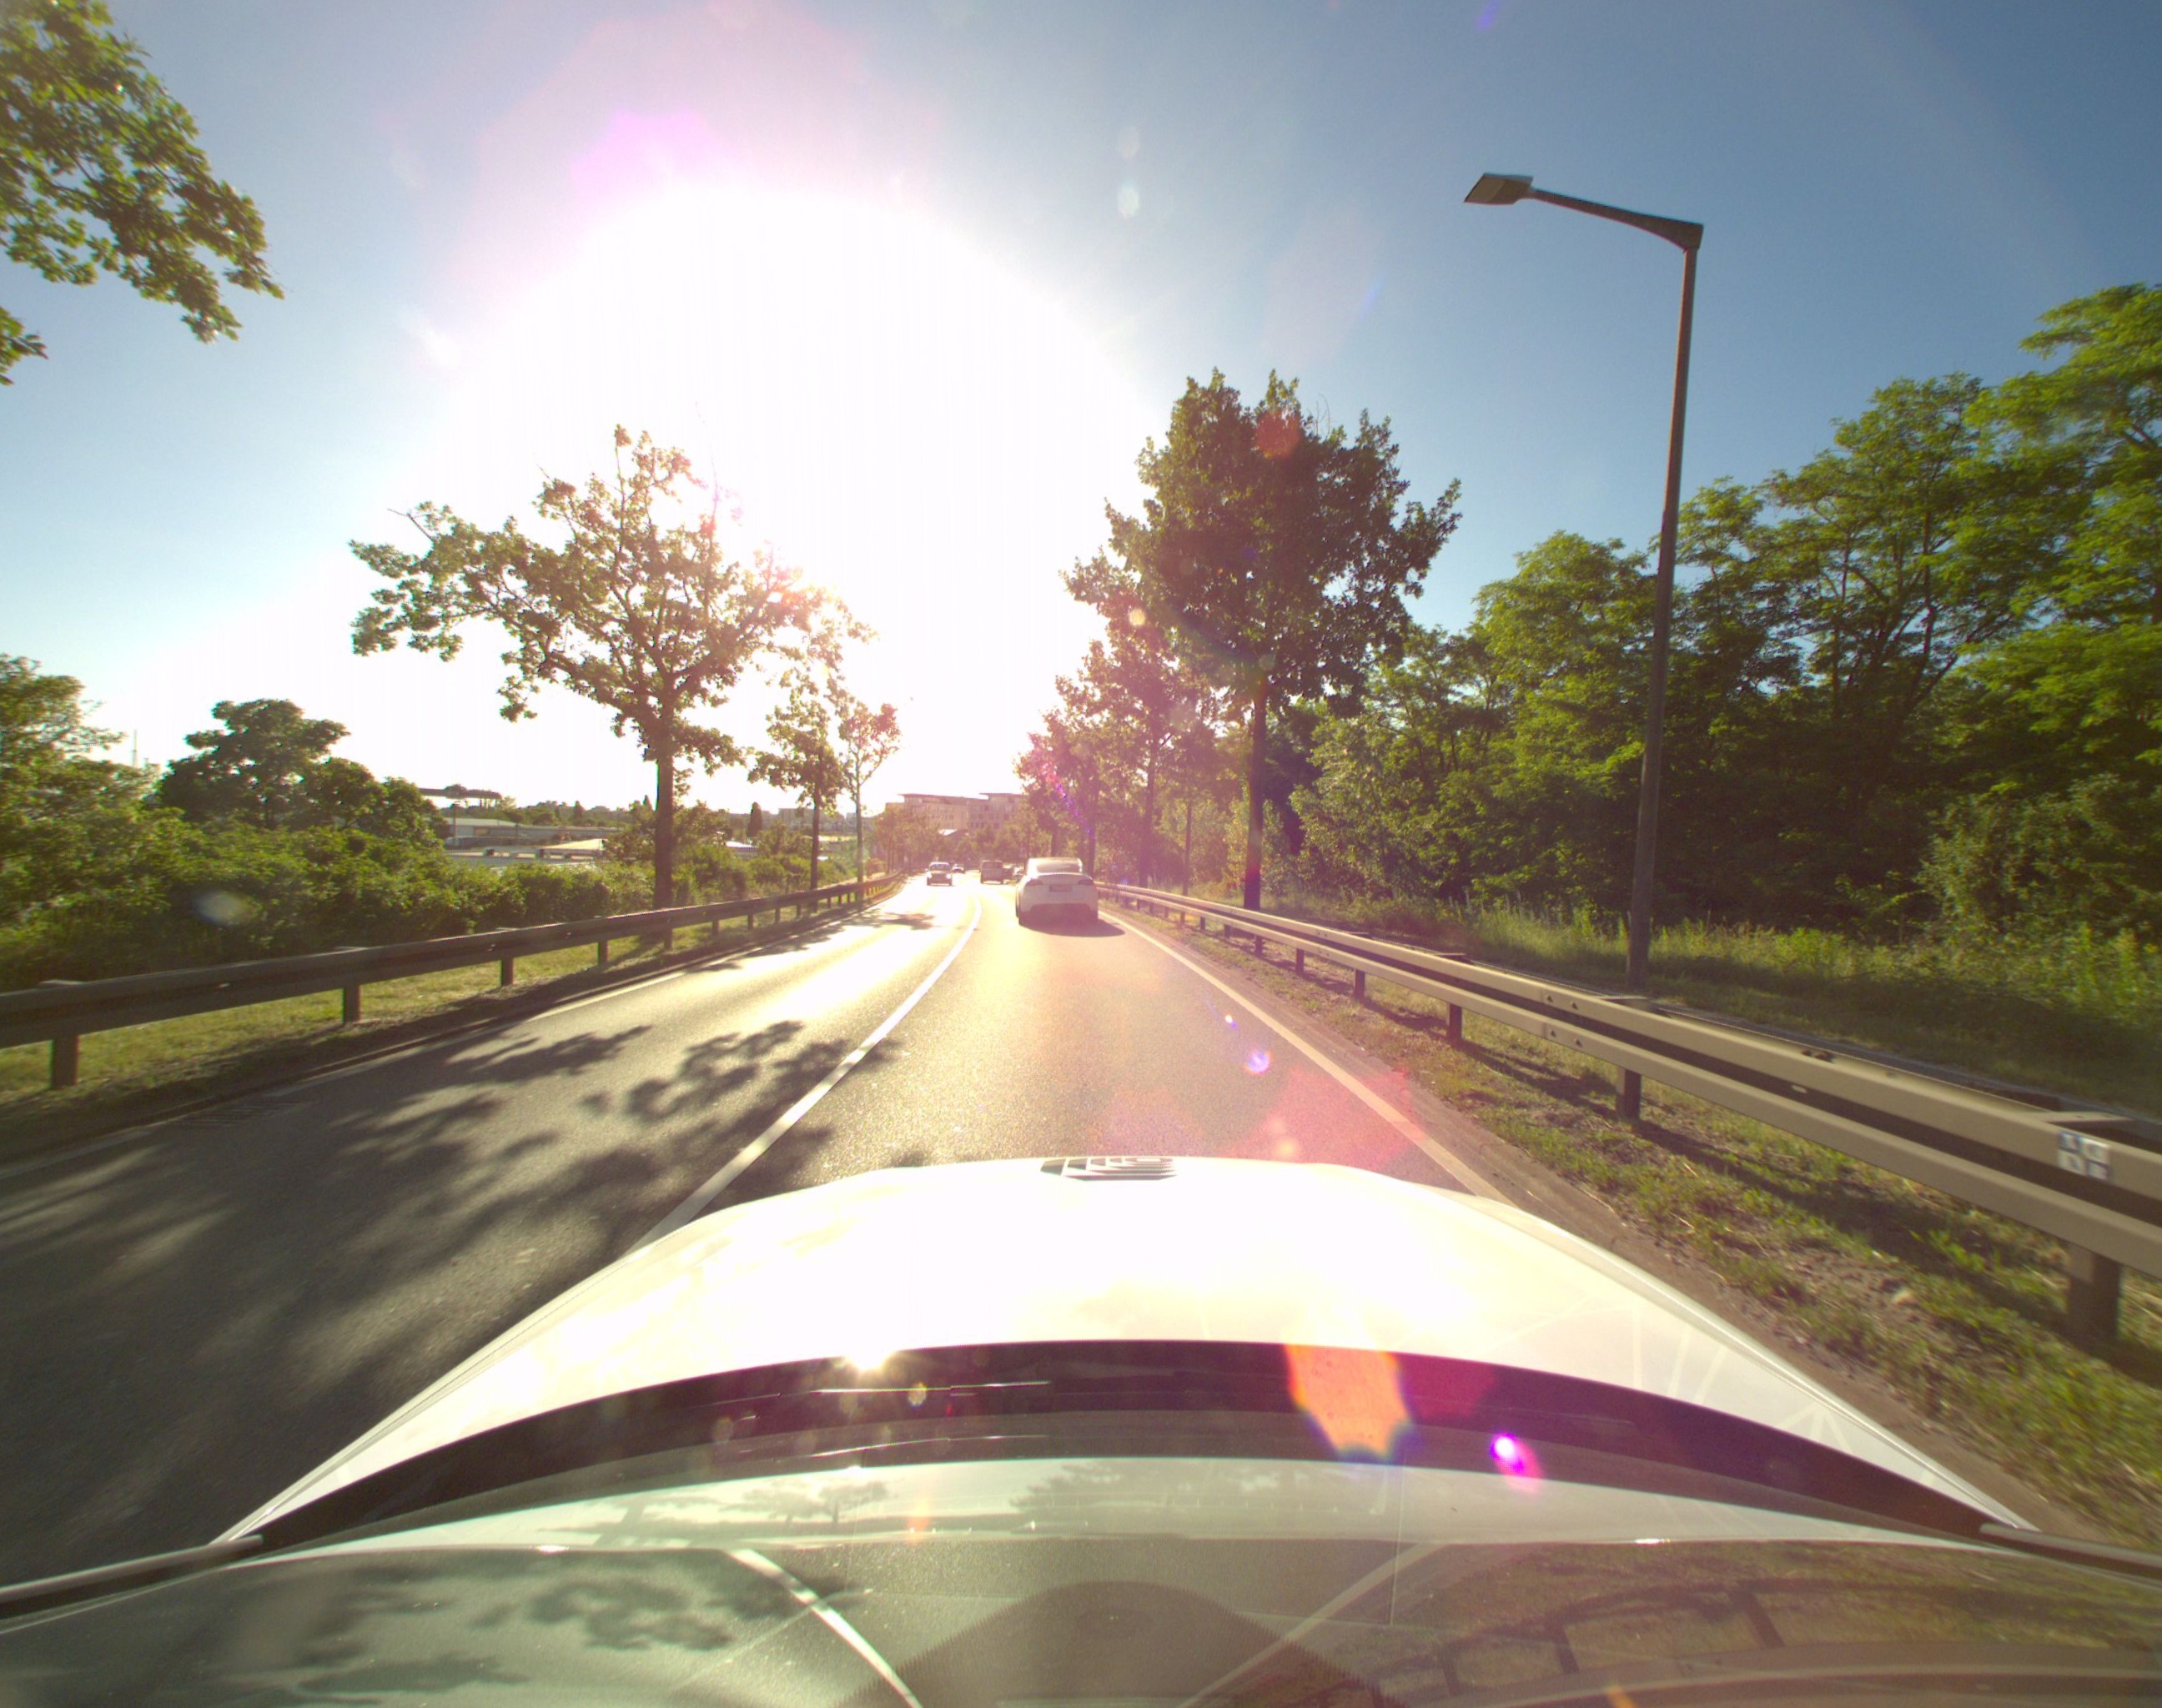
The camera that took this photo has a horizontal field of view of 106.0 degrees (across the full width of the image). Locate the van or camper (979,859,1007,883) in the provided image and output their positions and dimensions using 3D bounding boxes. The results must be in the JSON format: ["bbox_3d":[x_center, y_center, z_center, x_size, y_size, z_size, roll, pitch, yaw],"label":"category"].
[{"bbox_3d":[-7.262,1.377,67.579,1.954,1.884,4.874,0,-1,-3],"label":"van or camper"}]

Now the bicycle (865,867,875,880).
[{"bbox_3d":[-18.635,1.722,71.994,0.660,1.095,2.100,1,-1,-10],"label":"bicycle"}]

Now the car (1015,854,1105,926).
[{"bbox_3d":[-0.645,0.840,20.772,1.912,1.641,4.399,1,-1,-7],"label":"car"}]

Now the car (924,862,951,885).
[{"bbox_3d":[-10.150,1.350,57.710,1.809,1.554,4.126,1,-1,-10],"label":"car"}]

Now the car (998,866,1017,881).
[{"bbox_3d":[-7.628,2.019,84.296,1.603,1.434,3.667,3,0,-9],"label":"car"}]

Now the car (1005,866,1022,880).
[{"bbox_3d":[-8.875,2.489,107.948,1.904,1.802,4.126,3,0,-1],"label":"car"}]

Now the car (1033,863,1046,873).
[{"bbox_3d":[-8.214,2.726,162.003,1.901,1.802,4.134,2,0,5],"label":"car"}]

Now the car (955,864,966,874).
[{"bbox_3d":[-18.434,2.307,124.797,1.691,1.441,4.203,1,-1,-9],"label":"car"}]

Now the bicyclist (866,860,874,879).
[{"bbox_3d":[-18.657,1.373,72.045,0.651,1.623,0.871,1,-1,-11],"label":"bicyclist"}]

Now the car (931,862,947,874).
[{"bbox_3d":[-17.873,1.716,102.592,1.850,1.492,4.699,1,-1,-10],"label":"car"}]
